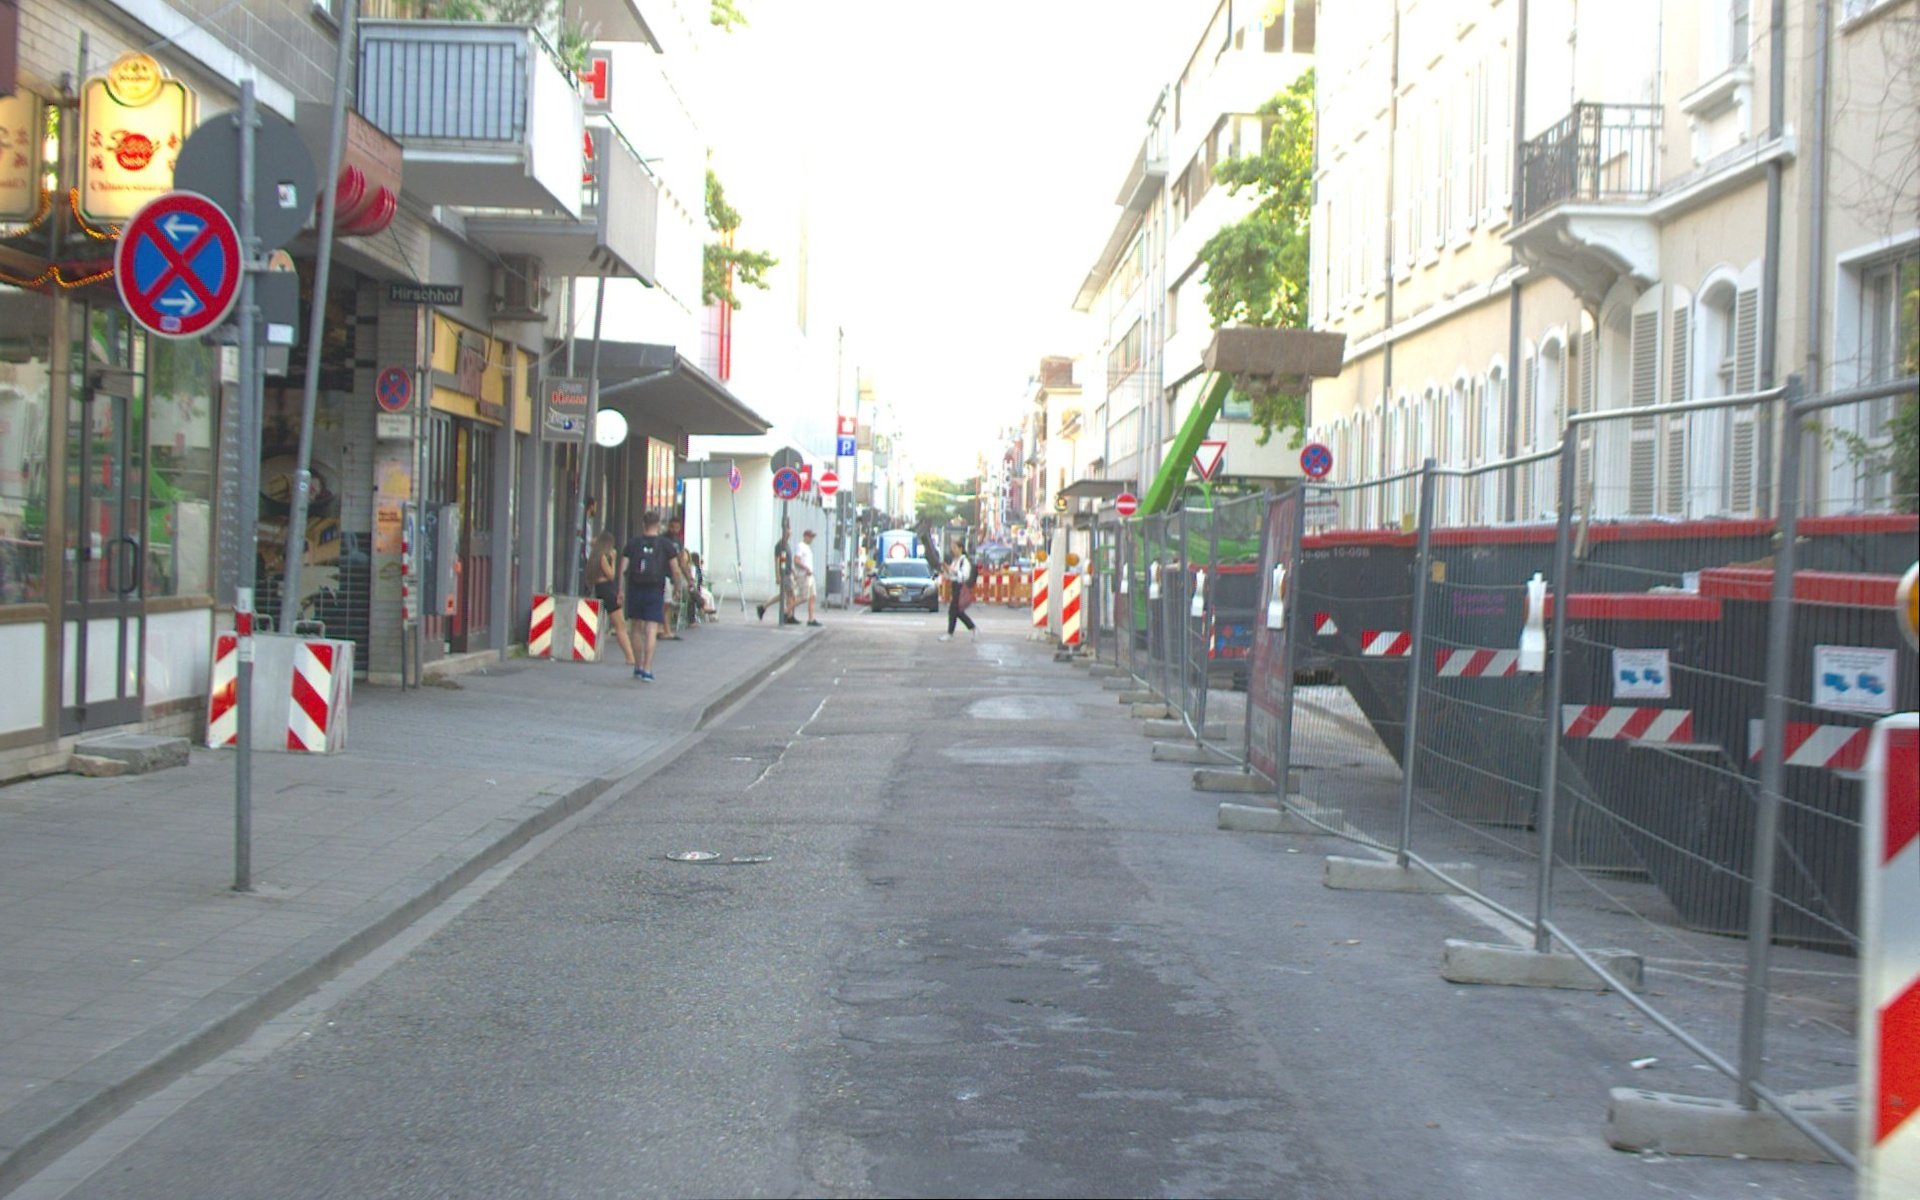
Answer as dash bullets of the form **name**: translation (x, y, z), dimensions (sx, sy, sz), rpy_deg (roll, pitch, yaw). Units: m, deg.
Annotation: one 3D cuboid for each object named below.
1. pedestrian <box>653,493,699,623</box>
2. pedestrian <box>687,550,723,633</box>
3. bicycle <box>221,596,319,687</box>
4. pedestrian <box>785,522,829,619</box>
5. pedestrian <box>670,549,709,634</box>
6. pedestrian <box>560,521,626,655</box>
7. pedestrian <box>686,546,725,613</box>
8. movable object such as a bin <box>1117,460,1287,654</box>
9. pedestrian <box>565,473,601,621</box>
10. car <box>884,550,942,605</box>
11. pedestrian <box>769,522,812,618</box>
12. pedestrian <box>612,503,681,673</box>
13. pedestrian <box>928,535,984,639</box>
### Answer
- **pedestrian**: translation (-4.151, -0.611, 50.280), dimensions (0.572, 1.880, 0.656), rpy_deg (1, 1, 0)
- **pedestrian**: translation (-4.322, -0.149, 58.290), dimensions (0.542, 1.383, 0.625), rpy_deg (1, 1, 0)
- **bicycle**: translation (-6.198, 0.365, 30.933), dimensions (0.522, 0.758, 1.747), rpy_deg (1, 1, 0)
- **pedestrian**: translation (-2.888, -0.566, 64.925), dimensions (0.645, 1.803, 0.631), rpy_deg (1, 1, -16)
- **pedestrian**: translation (-4.511, -0.149, 57.283), dimensions (0.558, 1.386, 0.893), rpy_deg (1, 1, 0)
- **pedestrian**: translation (-4.355, -0.147, 40.767), dimensions (0.645, 1.559, 0.631), rpy_deg (1, 1, -15)
- **pedestrian**: translation (-4.535, -0.373, 61.345), dimensions (0.618, 1.168, 0.788), rpy_deg (1, 1, -1)
- **movable object such as a bin**: translation (4.129, -0.786, 59.417), dimensions (2.470, 3.120, 4.298), rpy_deg (3, 2, 0)
- **pedestrian**: translation (-5.162, -0.728, 47.111), dimensions (0.410, 2.007, 0.454), rpy_deg (1, 1, -3)
- **car**: translation (-1.238, -0.606, 90.884), dimensions (1.474, 1.393, 3.332), rpy_deg (2, 1, 0)
- **pedestrian**: translation (-3.254, -0.578, 65.847), dimensions (0.645, 1.803, 0.631), rpy_deg (1, 1, -16)
- **pedestrian**: translation (-3.386, -0.136, 37.155), dimensions (0.629, 1.802, 0.647), rpy_deg (1, 1, 1)
- **pedestrian**: translation (-0.074, -0.218, 58.112), dimensions (0.645, 1.734, 0.722), rpy_deg (1, 1, -27)
